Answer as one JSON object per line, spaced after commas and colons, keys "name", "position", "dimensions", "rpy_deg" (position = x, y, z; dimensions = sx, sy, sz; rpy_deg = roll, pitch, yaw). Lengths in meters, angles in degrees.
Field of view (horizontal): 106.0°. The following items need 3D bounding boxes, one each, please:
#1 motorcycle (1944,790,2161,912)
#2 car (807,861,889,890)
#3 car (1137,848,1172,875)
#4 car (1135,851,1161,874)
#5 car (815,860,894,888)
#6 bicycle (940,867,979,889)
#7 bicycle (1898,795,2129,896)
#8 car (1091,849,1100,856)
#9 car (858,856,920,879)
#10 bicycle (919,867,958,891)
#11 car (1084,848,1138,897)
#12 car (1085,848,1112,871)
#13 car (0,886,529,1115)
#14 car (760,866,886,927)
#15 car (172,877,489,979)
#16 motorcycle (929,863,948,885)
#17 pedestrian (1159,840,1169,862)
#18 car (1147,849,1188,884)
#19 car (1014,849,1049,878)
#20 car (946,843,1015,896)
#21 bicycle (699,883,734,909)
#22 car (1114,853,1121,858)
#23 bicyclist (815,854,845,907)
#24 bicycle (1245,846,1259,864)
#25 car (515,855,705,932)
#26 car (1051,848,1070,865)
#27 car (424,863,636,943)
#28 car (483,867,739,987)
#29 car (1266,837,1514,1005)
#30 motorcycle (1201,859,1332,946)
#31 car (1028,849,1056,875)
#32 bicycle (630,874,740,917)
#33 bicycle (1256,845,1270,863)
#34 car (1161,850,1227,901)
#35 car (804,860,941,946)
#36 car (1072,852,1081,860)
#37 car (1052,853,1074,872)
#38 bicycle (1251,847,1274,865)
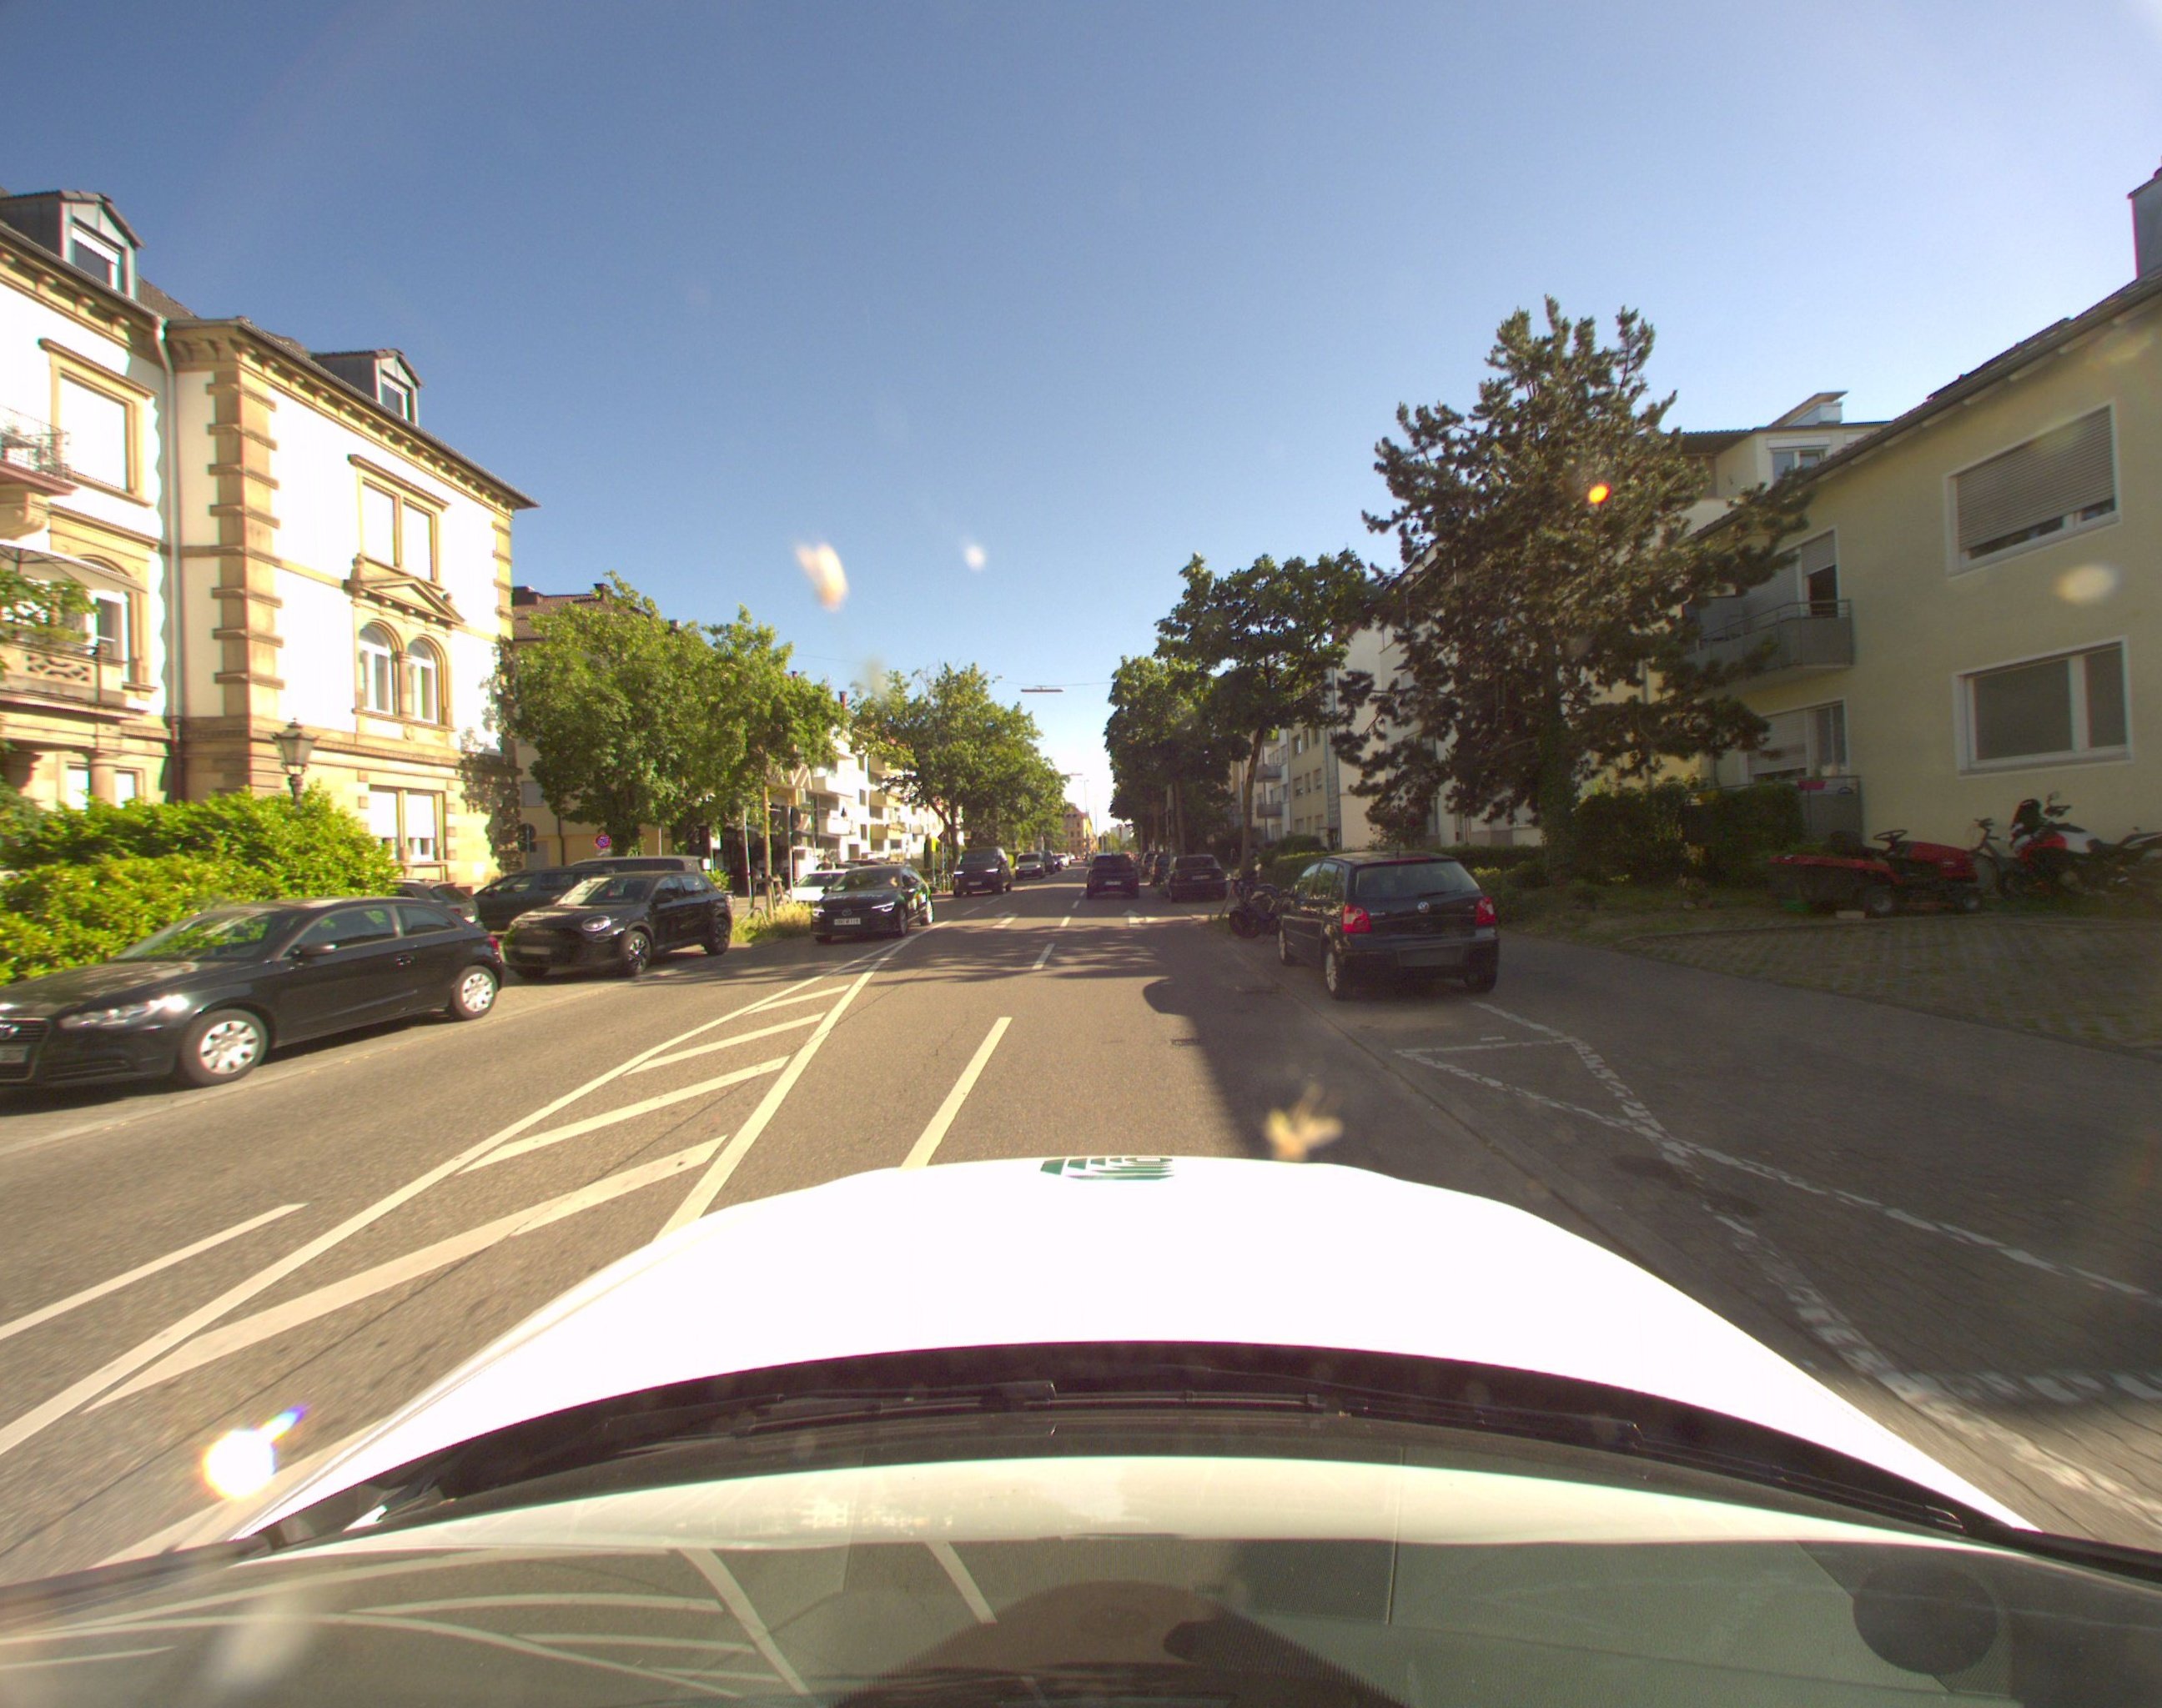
{"name": "motorcycle", "position": [12.536, -0.054, 10.318], "dimensions": [0.634, 1.375, 2.427], "rpy_deg": [-3, 0, 2]}
{"name": "car", "position": [-12.608, 1.147, 44.175], "dimensions": [3.954, 1.456, 1.742], "rpy_deg": [-1, 0, 20]}
{"name": "car", "position": [4.426, 0.429, 49.649], "dimensions": [1.708, 1.489, 4.234], "rpy_deg": [-3, 0, 0]}
{"name": "car", "position": [4.544, 0.550, 55.658], "dimensions": [1.605, 1.383, 3.979], "rpy_deg": [-3, 0, 2]}
{"name": "car", "position": [-12.975, 1.144, 46.773], "dimensions": [3.962, 1.461, 1.738], "rpy_deg": [-1, 0, 10]}
{"name": "bicycle", "position": [-6.195, 1.224, 41.603], "dimensions": [2.005, 1.091, 0.465], "rpy_deg": [-1, 0, 24]}
{"name": "bicycle", "position": [13.468, -0.116, 11.909], "dimensions": [0.595, 1.303, 2.427], "rpy_deg": [-3, 0, 2]}
{"name": "car", "position": [3.162, -0.391, 180.307], "dimensions": [1.764, 1.452, 3.889], "rpy_deg": [-2, 0, 3]}
{"name": "car", "position": [-13.740, 0.978, 58.404], "dimensions": [3.973, 1.486, 1.881], "rpy_deg": [-1, 0, 1]}
{"name": "bicycle", "position": [-6.811, 1.180, 38.843], "dimensions": [1.912, 1.135, 0.465], "rpy_deg": [-1, 0, 29]}
{"name": "car", "position": [1.041, 0.615, 28.404], "dimensions": [1.739, 1.573, 3.559], "rpy_deg": [-1, 0, 2]}
{"name": "car", "position": [1.325, 0.392, 59.436], "dimensions": [1.823, 1.578, 3.842], "rpy_deg": [-2, 0, 2]}
{"name": "car", "position": [-7.503, 1.107, 7.724], "dimensions": [1.630, 1.416, 4.091], "rpy_deg": [0, 0, 2]}
{"name": "car", "position": [-6.967, 1.093, 22.600], "dimensions": [1.827, 1.389, 4.804], "rpy_deg": [-1, 0, 2]}
{"name": "car", "position": [-13.466, 1.254, 14.956], "dimensions": [3.929, 1.488, 1.618], "rpy_deg": [-2, 1, -27]}
{"name": "motorcycle", "position": [-7.583, 1.044, 43.395], "dimensions": [0.458, 1.125, 1.722], "rpy_deg": [-1, 0, 10]}
{"name": "pedestrian", "position": [6.622, -0.229, 64.966], "dimensions": [0.667, 1.682, 0.776], "rpy_deg": [-3, 0, 1]}
{"name": "car", "position": [3.880, 0.528, 37.050], "dimensions": [1.684, 1.428, 4.152], "rpy_deg": [-3, 0, 4]}
{"name": "car", "position": [-3.304, 0.627, 55.103], "dimensions": [1.809, 1.743, 4.494], "rpy_deg": [-4, 0, 1]}
{"name": "car", "position": [-4.106, 0.595, 34.184], "dimensions": [2.009, 1.952, 5.179], "rpy_deg": [-4, 0, 1]}
{"name": "bicycle", "position": [-15.235, 1.748, 34.092], "dimensions": [0.400, 0.960, 1.763], "rpy_deg": [-3, 1, 8]}
{"name": "car", "position": [11.155, 0.530, 246.017], "dimensions": [1.985, 1.519, 4.004], "rpy_deg": [0, 0, 3]}
{"name": "bicyclist", "position": [-8.862, 0.930, 28.788], "dimensions": [0.656, 1.824, 1.055], "rpy_deg": [-3, 0, 2]}
{"name": "bicycle", "position": [12.862, 0.048, 61.346], "dimensions": [0.620, 1.287, 1.843], "rpy_deg": [-5, 0, 2]}
{"name": "car", "position": [-12.917, 1.015, 22.682], "dimensions": [4.334, 1.879, 1.865], "rpy_deg": [-2, 0, -24]}
{"name": "car", "position": [-2.209, 0.278, 90.944], "dimensions": [1.800, 1.648, 4.673], "rpy_deg": [-4, 0, 1]}
{"name": "car", "position": [-13.101, 1.103, 19.667], "dimensions": [3.924, 1.644, 1.668], "rpy_deg": [-2, 0, -23]}
{"name": "car", "position": [-7.365, 1.048, 13.303], "dimensions": [1.671, 1.555, 4.011], "rpy_deg": [-1, 0, 3]}
{"name": "car", "position": [3.311, 0.622, 9.471], "dimensions": [1.613, 1.499, 3.652], "rpy_deg": [-3, 0, 3]}
{"name": "motorcycle", "position": [2.992, 0.760, 13.451], "dimensions": [0.701, 1.271, 2.411], "rpy_deg": [-4, 0, -26]}
{"name": "car", "position": [-3.123, 0.603, 66.112], "dimensions": [1.796, 1.910, 4.714], "rpy_deg": [-5, 0, 2]}
{"name": "bicycle", "position": [-13.102, 1.364, 27.015], "dimensions": [3.187, 1.262, 0.942], "rpy_deg": [-1, -2, -33]}
{"name": "bicycle", "position": [13.659, -0.003, 61.114], "dimensions": [0.589, 1.287, 1.690], "rpy_deg": [-5, 0, 2]}
{"name": "car", "position": [3.503, 0.619, 25.870], "dimensions": [1.580, 1.396, 4.457], "rpy_deg": [-4, 0, 2]}
{"name": "car", "position": [-4.328, 0.949, 17.568], "dimensions": [1.685, 1.453, 4.174], "rpy_deg": [-5, 0, 1]}
{"name": "car", "position": [-1.099, 0.431, 183.876], "dimensions": [1.784, 1.617, 4.003], "rpy_deg": [-2, 0, 2]}
{"name": "car", "position": [-1.667, 0.753, 76.594], "dimensions": [1.713, 1.566, 4.344], "rpy_deg": [-5, 0, 1]}
{"name": "bicycle", "position": [13.291, 0.164, 59.644], "dimensions": [1.520, 1.222, 0.466], "rpy_deg": [-5, 0, 32]}
